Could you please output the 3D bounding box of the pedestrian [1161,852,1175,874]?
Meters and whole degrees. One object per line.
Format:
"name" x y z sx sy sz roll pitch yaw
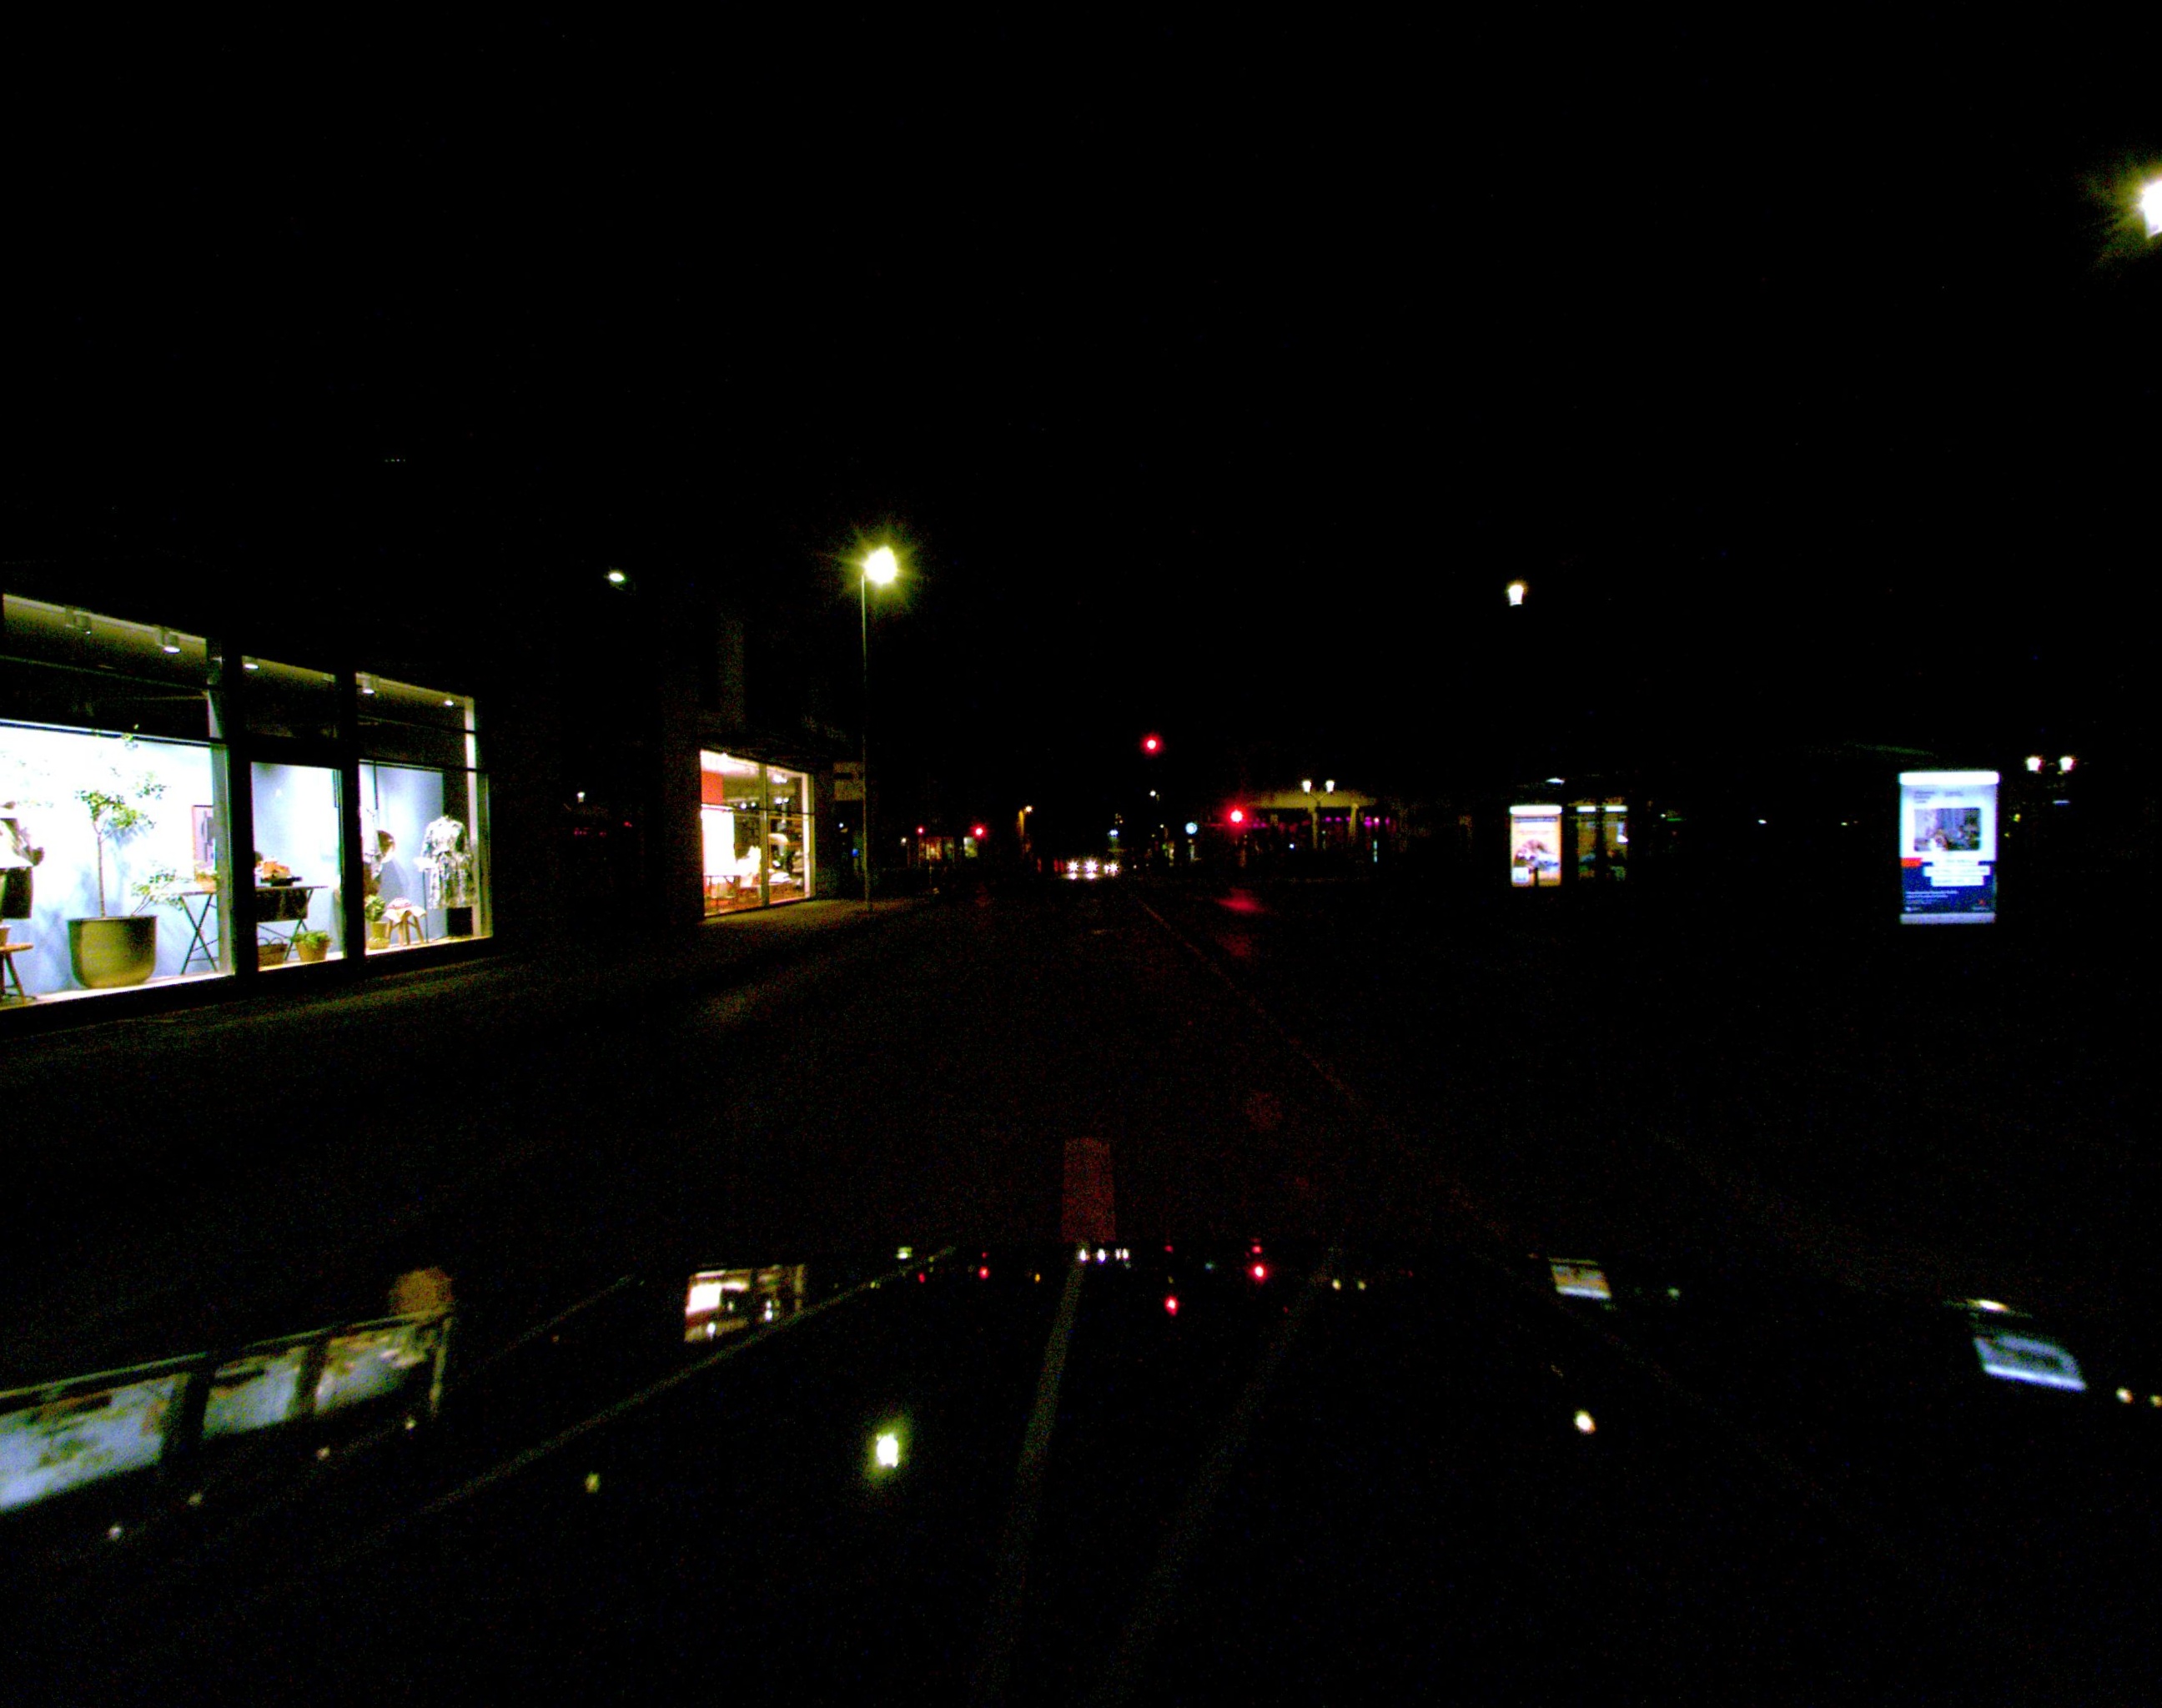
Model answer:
"pedestrian" 5.918 0.586 51.462 0.828 1.487 0.648 0 1 15

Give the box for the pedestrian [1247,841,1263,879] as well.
"pedestrian" 8.009 0.273 34.906 0.582 1.672 0.648 -2 1 23

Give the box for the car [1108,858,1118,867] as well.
"car" 6.491 1.718 156.106 1.879 1.718 3.999 -2 1 1

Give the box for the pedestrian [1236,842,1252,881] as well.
"pedestrian" 7.147 0.324 33.350 0.539 1.672 0.648 -2 1 23

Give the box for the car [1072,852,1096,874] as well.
"car" 0.255 0.699 61.179 1.713 1.660 3.738 -2 1 3

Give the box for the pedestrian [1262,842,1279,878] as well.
"pedestrian" 8.639 0.279 34.634 0.582 1.619 0.648 -2 1 23

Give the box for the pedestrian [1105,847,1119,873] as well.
"pedestrian" 2.086 0.426 50.839 0.877 1.723 0.647 0 1 4
